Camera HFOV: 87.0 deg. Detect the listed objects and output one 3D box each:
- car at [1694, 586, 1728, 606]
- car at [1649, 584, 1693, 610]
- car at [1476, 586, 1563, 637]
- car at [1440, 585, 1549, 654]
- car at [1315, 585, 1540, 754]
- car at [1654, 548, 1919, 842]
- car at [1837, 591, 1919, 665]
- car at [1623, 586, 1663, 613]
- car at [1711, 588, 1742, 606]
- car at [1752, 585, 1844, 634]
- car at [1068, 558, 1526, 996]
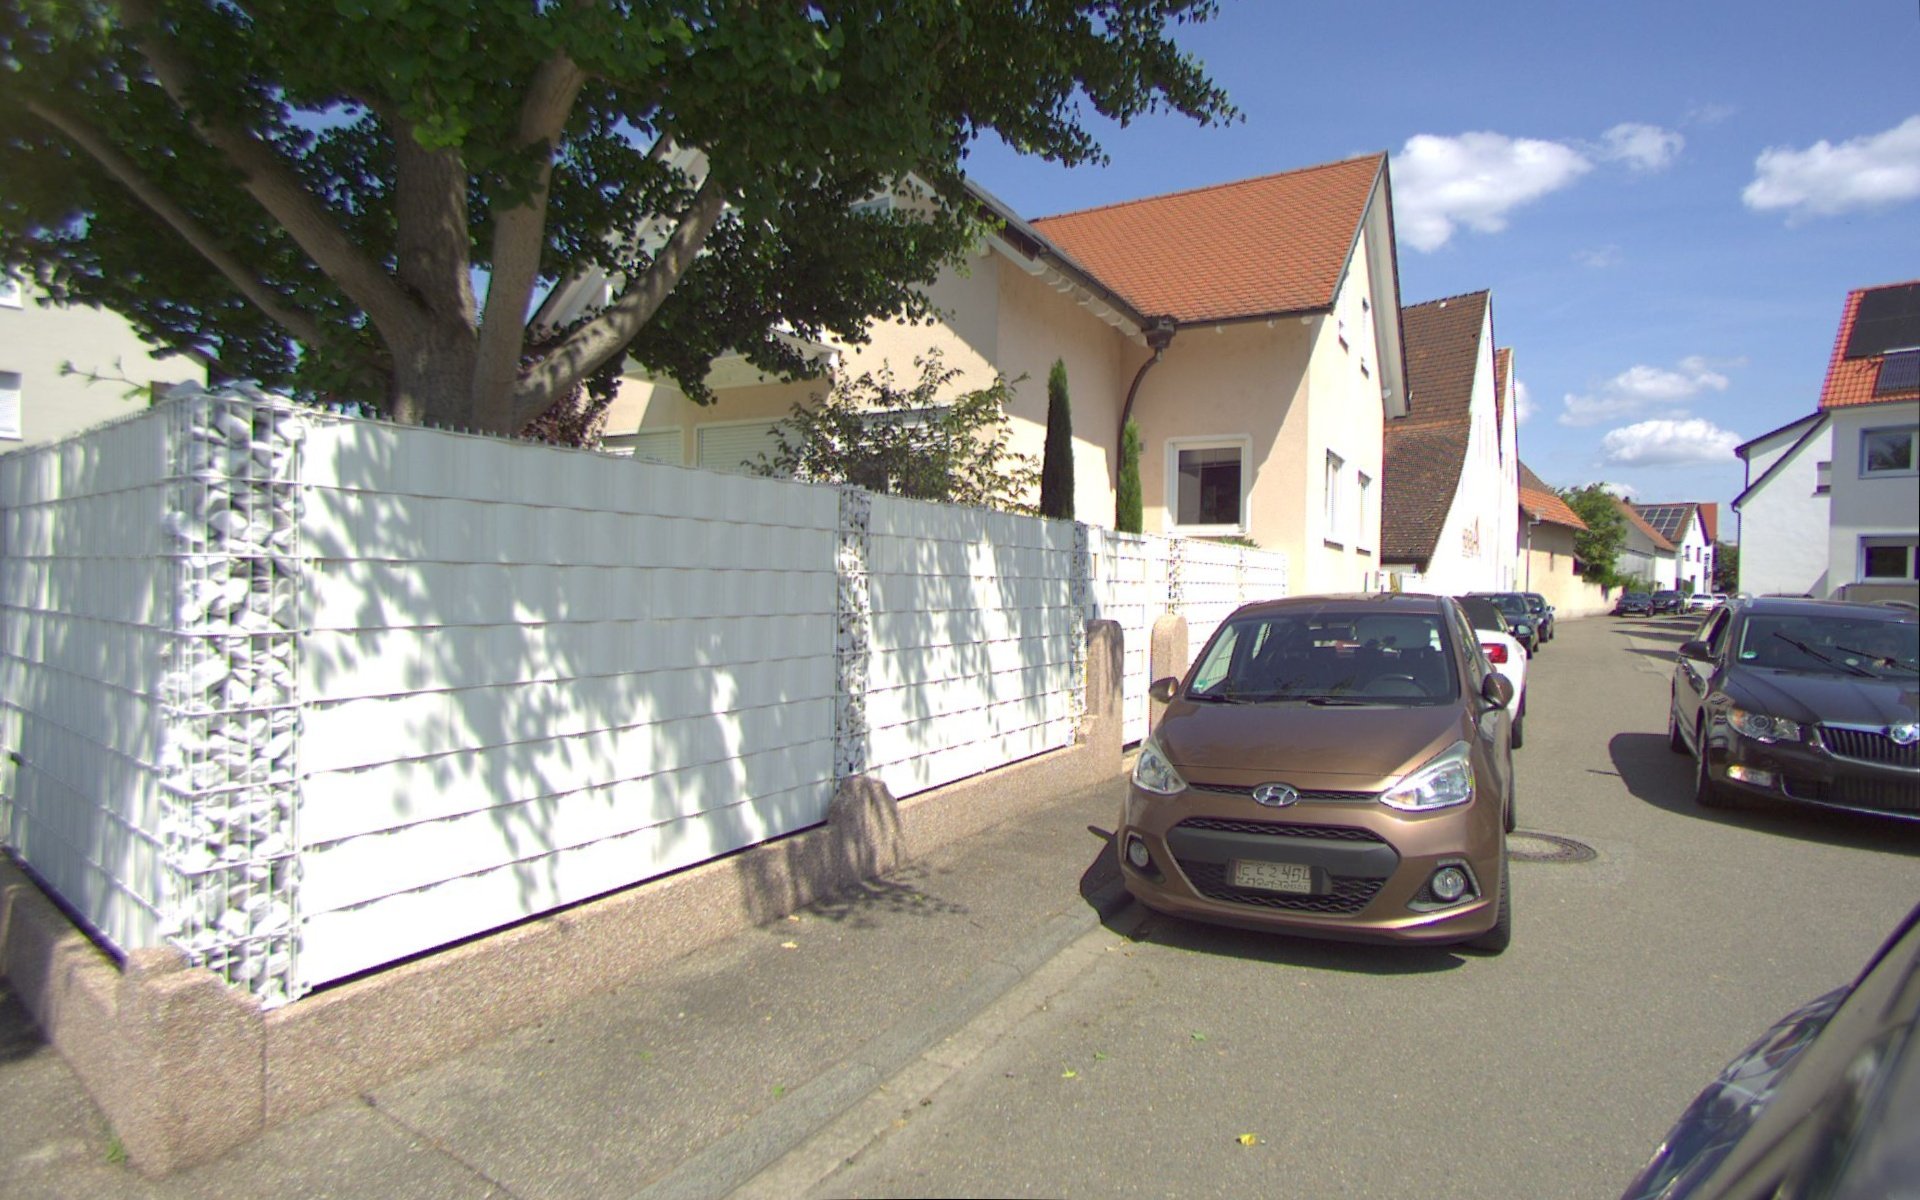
[{"bbox_3d":[60.094,-0.324,80.954,1.779,1.519,3.976,-1,0,43],"label":"car"},{"bbox_3d":[46.366,-0.227,65.986,1.779,1.630,3.938,-1,0,43],"label":"car"},{"bbox_3d":[16.809,0.286,30.299,1.889,1.382,4.361,1,2,34],"label":"car"},{"bbox_3d":[12.473,0.370,23.477,1.888,1.382,4.683,1,2,32],"label":"car"},{"bbox_3d":[5.438,0.576,11.449,1.885,1.446,4.688,1,1,30],"label":"car"},{"bbox_3d":[6.481,0.607,7.513,1.773,1.554,4.657,6,1,31],"label":"car"},{"bbox_3d":[19.713,0.512,20.804,4.388,1.366,1.774,-1,1,-38],"label":"car"},{"bbox_3d":[40.235,-0.071,59.549,1.776,1.497,3.948,2,2,36],"label":"car"},{"bbox_3d":[68.191,-0.245,89.964,1.779,1.519,3.976,-1,0,43],"label":"car"},{"bbox_3d":[26.840,0.293,32.383,3.720,1.473,1.640,0,0,-40],"label":"car"},{"bbox_3d":[2.213,0.621,5.766,1.703,1.552,3.994,-2,0,29],"label":"car"}]
